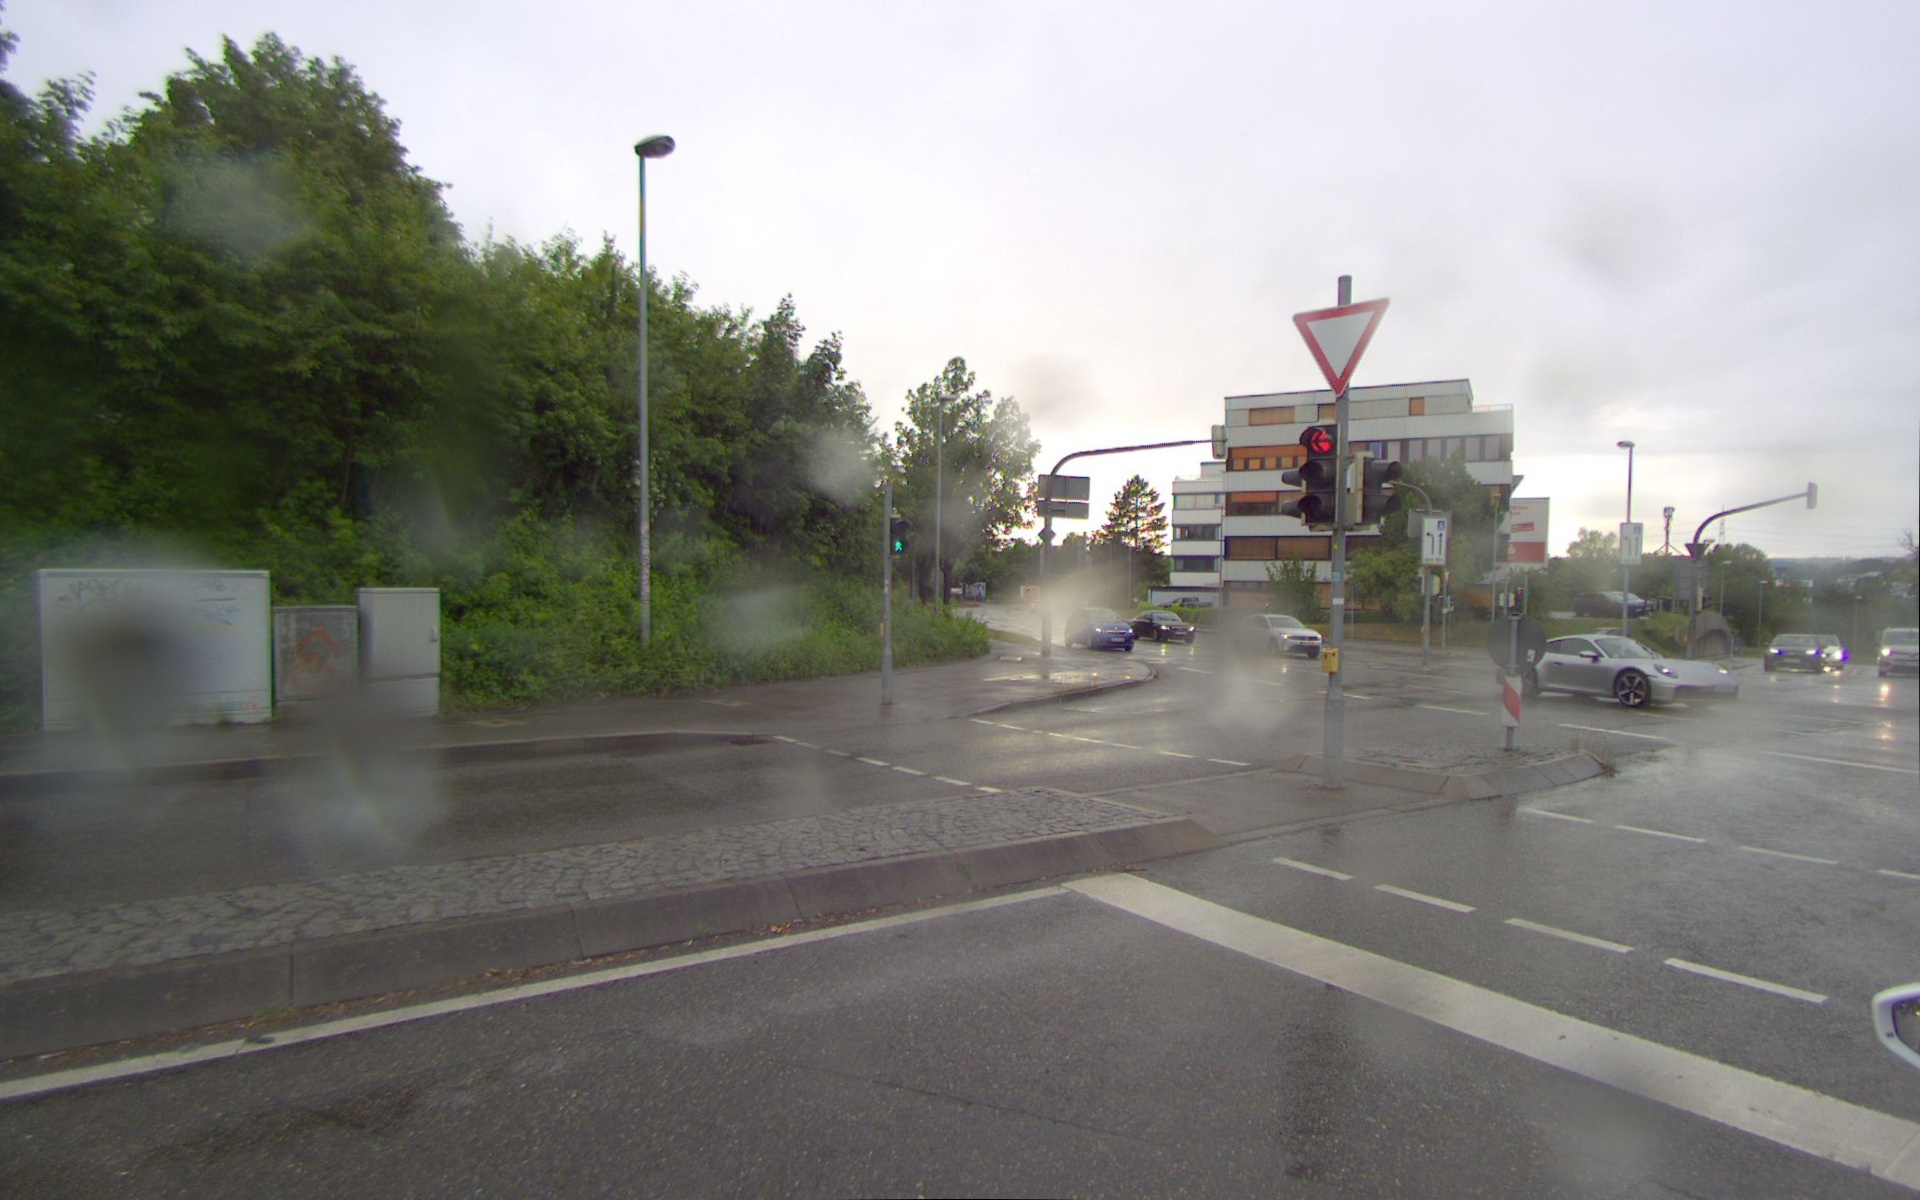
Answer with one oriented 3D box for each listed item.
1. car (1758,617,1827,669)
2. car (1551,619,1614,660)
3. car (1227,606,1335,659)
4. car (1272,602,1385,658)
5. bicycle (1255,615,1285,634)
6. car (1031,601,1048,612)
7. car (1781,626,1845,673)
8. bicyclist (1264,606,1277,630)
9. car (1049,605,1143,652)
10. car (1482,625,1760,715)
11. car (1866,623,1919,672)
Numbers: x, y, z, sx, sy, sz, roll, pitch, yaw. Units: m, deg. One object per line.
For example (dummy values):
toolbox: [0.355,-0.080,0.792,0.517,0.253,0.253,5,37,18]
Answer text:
car: [33.652,1.688,40.575,1.971,1.920,3.978,2,1,42]
car: [31.679,1.973,51.090,1.972,1.920,3.977,2,1,43]
car: [11.437,1.127,36.094,1.965,1.706,3.990,1,1,-12]
car: [13.646,1.065,37.451,1.966,1.865,4.143,1,1,-14]
bicycle: [19.030,1.497,61.691,0.604,1.066,1.761,1,1,-37]
car: [8.780,0.714,111.189,1.784,1.120,3.518,1,0,5]
car: [38.809,2.195,45.669,1.972,1.920,3.976,2,1,43]
bicyclist: [19.067,1.106,61.643,0.598,1.465,0.539,1,0,-39]
car: [4.862,0.991,36.368,1.816,1.534,3.984,1,0,-18]
car: [12.746,1.278,19.759,1.827,1.377,4.430,1,1,-17]
car: [34.863,1.716,36.929,3.972,1.639,1.974,1,1,-43]
